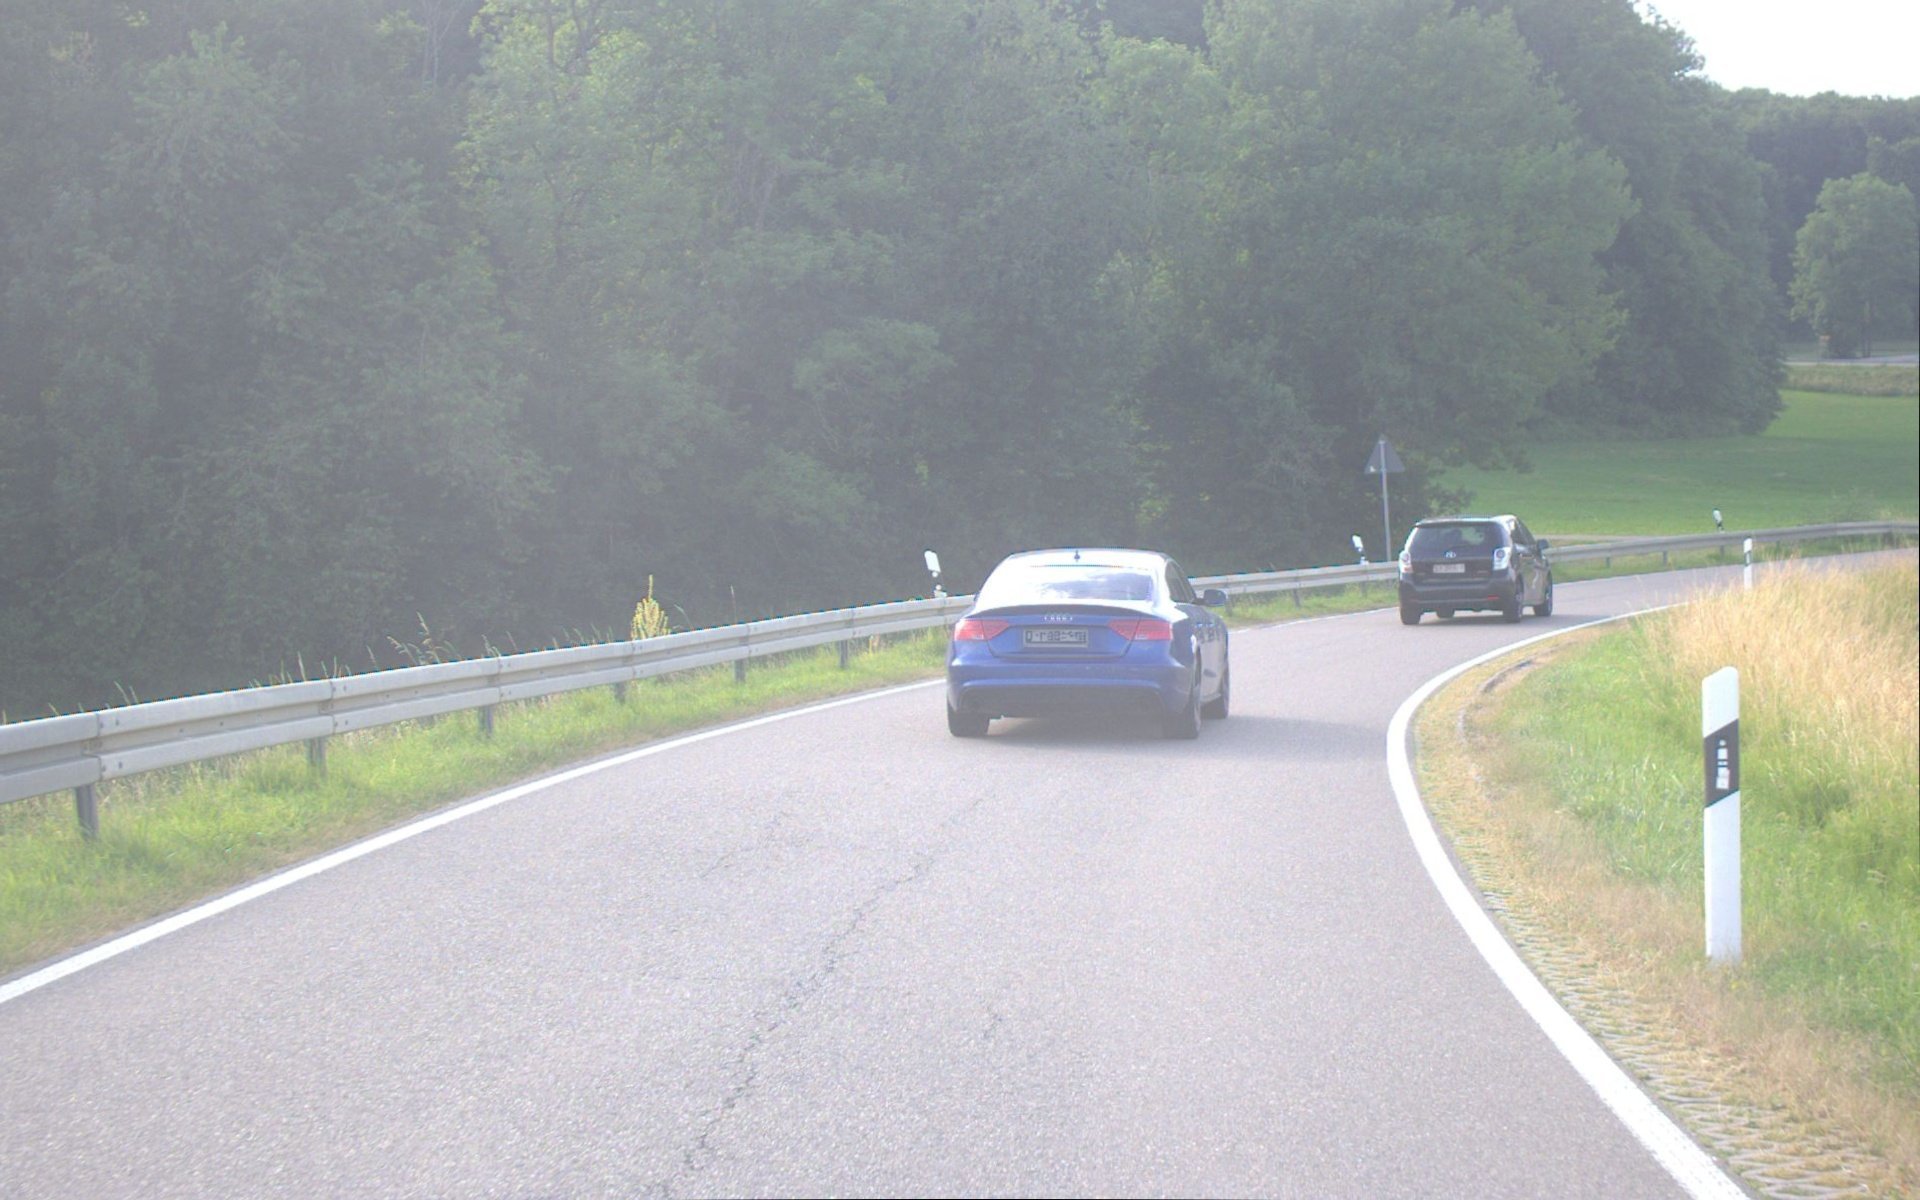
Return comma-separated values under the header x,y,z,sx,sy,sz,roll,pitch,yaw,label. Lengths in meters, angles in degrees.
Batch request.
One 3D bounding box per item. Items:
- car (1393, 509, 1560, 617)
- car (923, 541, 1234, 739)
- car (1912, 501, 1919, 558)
x,y,z,sx,sy,sz,roll,pitch,yaw,label
7.863,-0.583,52.078,1.863,1.563,3.997,0,1,18,car
0.992,0.249,26.129,1.819,1.334,4.348,1,1,9,car
25.147,-1.806,85.328,1.685,1.371,3.992,-2,1,35,car
